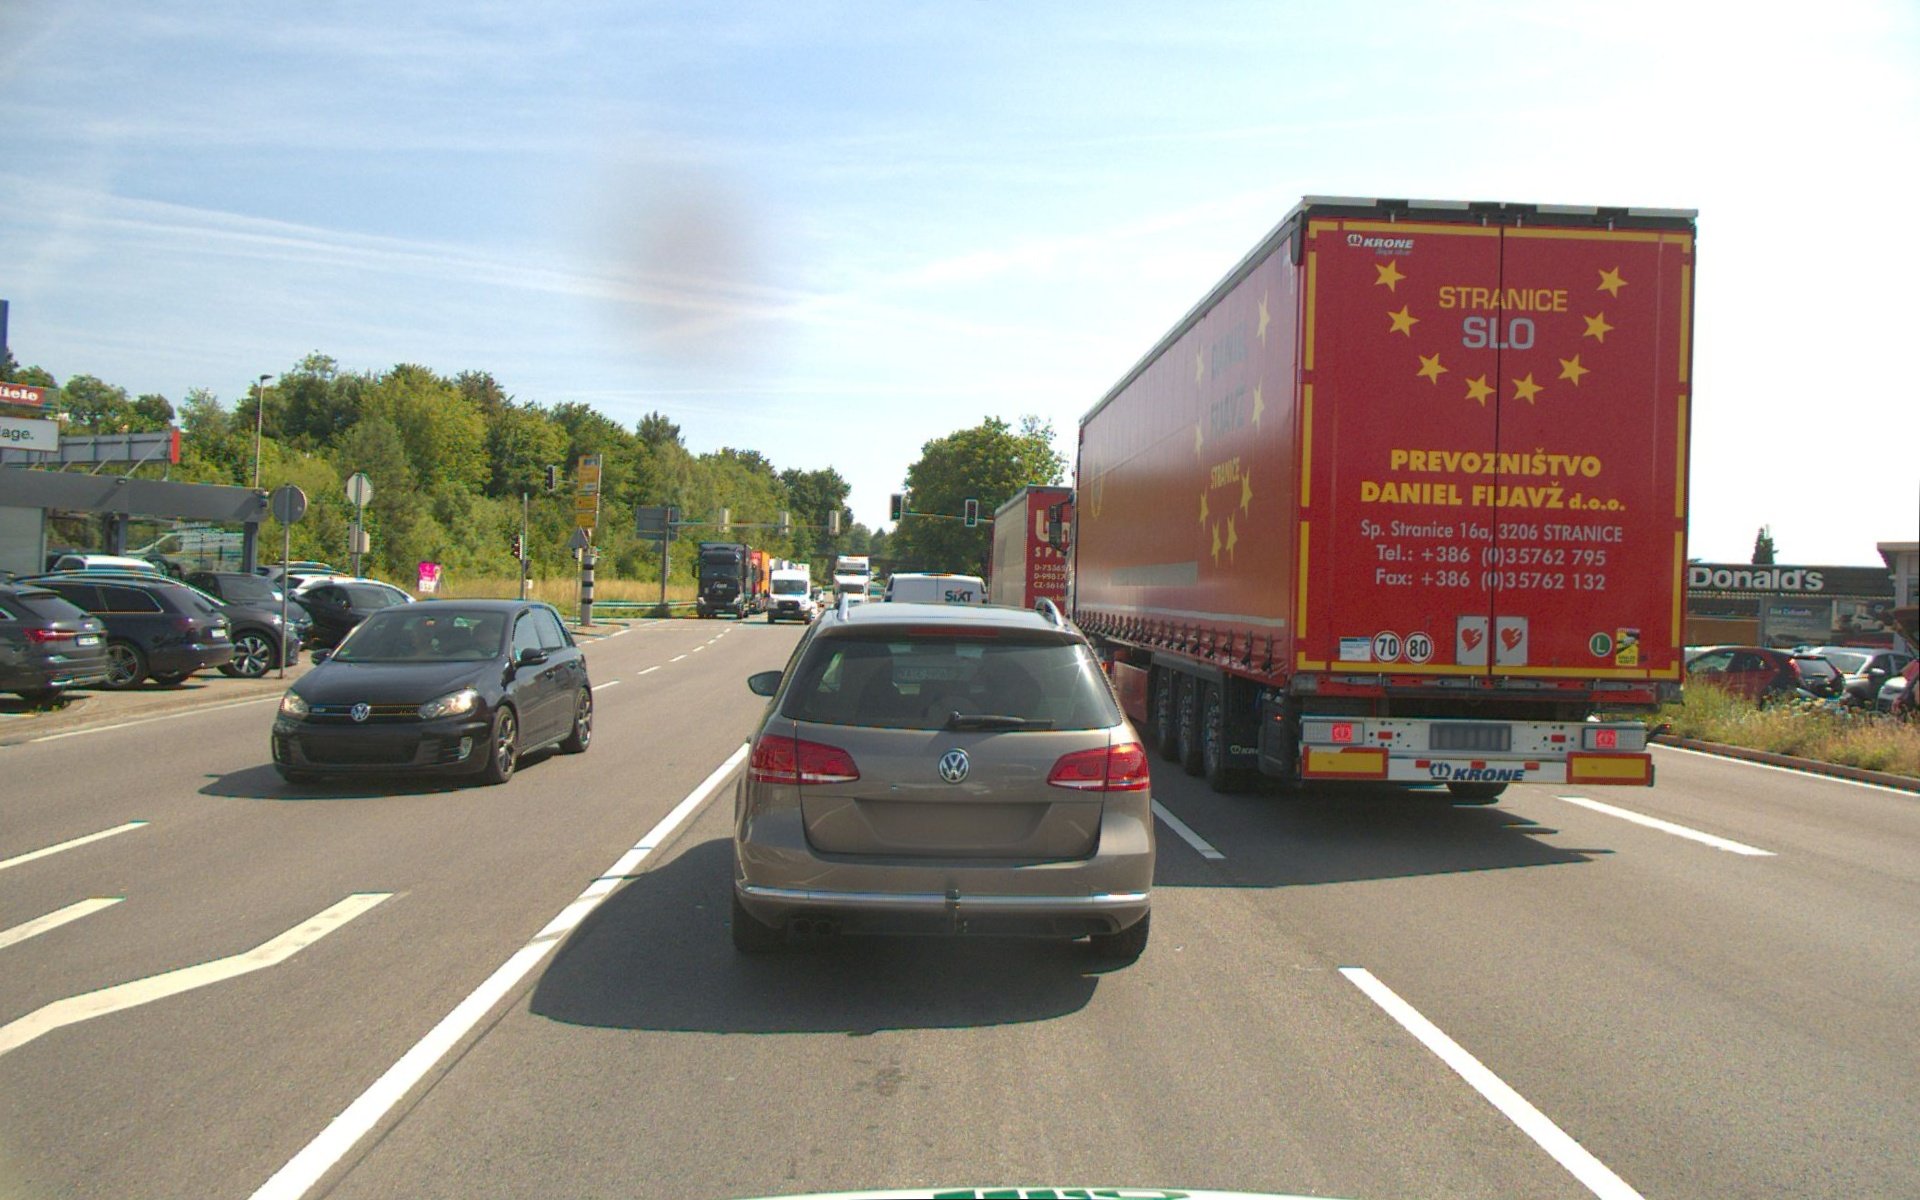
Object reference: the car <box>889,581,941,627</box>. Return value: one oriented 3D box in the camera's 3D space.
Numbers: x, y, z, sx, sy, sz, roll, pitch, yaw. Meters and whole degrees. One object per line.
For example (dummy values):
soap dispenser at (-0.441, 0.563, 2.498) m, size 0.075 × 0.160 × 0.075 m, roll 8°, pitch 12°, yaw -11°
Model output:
car at (-1.549, 0.155, 57.901) m, size 1.691 × 1.545 × 3.311 m, roll 2°, pitch -1°, yaw 0°

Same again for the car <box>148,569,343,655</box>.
car at (-15.054, 0.224, 34.851) m, size 3.743 × 1.723 × 1.840 m, roll 1°, pitch 0°, yaw 28°

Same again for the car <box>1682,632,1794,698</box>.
car at (20.036, 1.636, 42.515) m, size 1.657 × 1.558 × 3.575 m, roll 2°, pitch 0°, yaw 42°

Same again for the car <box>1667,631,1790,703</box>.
car at (18.106, 1.544, 38.908) m, size 1.657 × 1.558 × 3.575 m, roll 2°, pitch 0°, yaw 42°

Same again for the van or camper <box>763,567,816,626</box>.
van or camper at (-7.972, -0.165, 77.472) m, size 2.129 × 2.596 × 4.169 m, roll 2°, pitch 0°, yaw -2°

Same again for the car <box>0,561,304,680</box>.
car at (-12.210, 0.301, 25.136) m, size 3.740 × 1.704 × 1.842 m, roll 1°, pitch 0°, yaw -3°

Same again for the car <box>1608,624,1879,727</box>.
car at (13.887, 1.296, 29.538) m, size 1.973 × 1.558 × 3.960 m, roll 2°, pitch 0°, yaw -30°

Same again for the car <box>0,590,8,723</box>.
car at (-12.460, 0.607, 17.435) m, size 3.740 × 1.473 × 1.842 m, roll 1°, pitch 0°, yaw -3°

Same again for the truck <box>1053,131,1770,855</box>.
truck at (3.233, -0.681, 18.384) m, size 2.897 × 4.344 × 16.578 m, roll 1°, pitch 0°, yaw -2°

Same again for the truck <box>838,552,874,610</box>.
truck at (-8.014, -1.447, 127.970) m, size 2.501 × 4.383 × 7.593 m, roll 0°, pitch 0°, yaw -2°

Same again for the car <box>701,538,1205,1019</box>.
car at (0.021, 0.625, 7.552) m, size 1.753 × 1.667 × 3.504 m, roll 0°, pitch 0°, yaw 1°

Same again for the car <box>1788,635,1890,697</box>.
car at (24.057, 1.765, 45.219) m, size 1.657 × 1.558 × 3.575 m, roll 2°, pitch 0°, yaw 42°

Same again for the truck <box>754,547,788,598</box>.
truck at (-14.676, -2.075, 128.747) m, size 2.484 × 3.852 × 6.982 m, roll 0°, pitch 0°, yaw -6°

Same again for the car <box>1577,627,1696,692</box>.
car at (17.516, 1.511, 42.770) m, size 1.738 × 1.558 × 3.608 m, roll 2°, pitch 0°, yaw 42°

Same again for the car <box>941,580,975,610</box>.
car at (-0.143, -0.269, 90.068) m, size 1.692 × 1.545 × 3.310 m, roll 2°, pitch -1°, yaw -2°

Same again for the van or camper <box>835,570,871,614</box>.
van or camper at (-7.298, -0.536, 113.386) m, size 2.179 × 2.890 × 5.708 m, roll 2°, pitch -1°, yaw -2°

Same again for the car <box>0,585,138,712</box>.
car at (-12.301, 0.544, 20.029) m, size 3.740 × 1.473 × 1.842 m, roll 1°, pitch 0°, yaw -3°

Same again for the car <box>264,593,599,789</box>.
car at (-4.342, 0.668, 14.221) m, size 1.632 × 1.434 × 3.926 m, roll -1°, pitch 0°, yaw 0°

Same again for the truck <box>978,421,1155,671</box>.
truck at (2.395, -1.197, 44.071) m, size 3.001 × 5.312 × 17.001 m, roll 1°, pitch 0°, yaw -2°

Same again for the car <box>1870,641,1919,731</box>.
car at (18.494, 1.586, 30.699) m, size 1.964 × 1.558 × 3.976 m, roll 2°, pitch 0°, yaw 42°

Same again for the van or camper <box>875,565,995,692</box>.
van or camper at (-0.458, 0.434, 27.655) m, size 1.815 × 1.939 × 3.783 m, roll 2°, pitch 0°, yaw -2°

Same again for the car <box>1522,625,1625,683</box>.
car at (17.801, 1.532, 47.970) m, size 1.734 × 1.558 × 3.246 m, roll 2°, pitch 0°, yaw 42°

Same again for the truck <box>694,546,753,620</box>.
truck at (-12.681, -0.902, 89.181) m, size 2.758 × 3.852 × 6.982 m, roll 0°, pitch 0°, yaw -6°

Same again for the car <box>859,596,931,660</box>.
car at (-1.621, 0.707, 42.330) m, size 1.692 × 1.545 × 3.311 m, roll 2°, pitch -1°, yaw -1°

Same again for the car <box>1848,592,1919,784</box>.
car at (11.558, 0.946, 17.766) m, size 3.787 × 1.954 × 1.688 m, roll 1°, pitch 0°, yaw -27°

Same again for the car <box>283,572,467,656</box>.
car at (-12.885, 0.274, 36.319) m, size 4.453 × 1.723 × 2.116 m, roll 1°, pitch 0°, yaw 45°

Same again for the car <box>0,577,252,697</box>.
car at (-12.059, 0.480, 22.852) m, size 3.740 × 1.566 × 1.842 m, roll 1°, pitch 0°, yaw -3°
